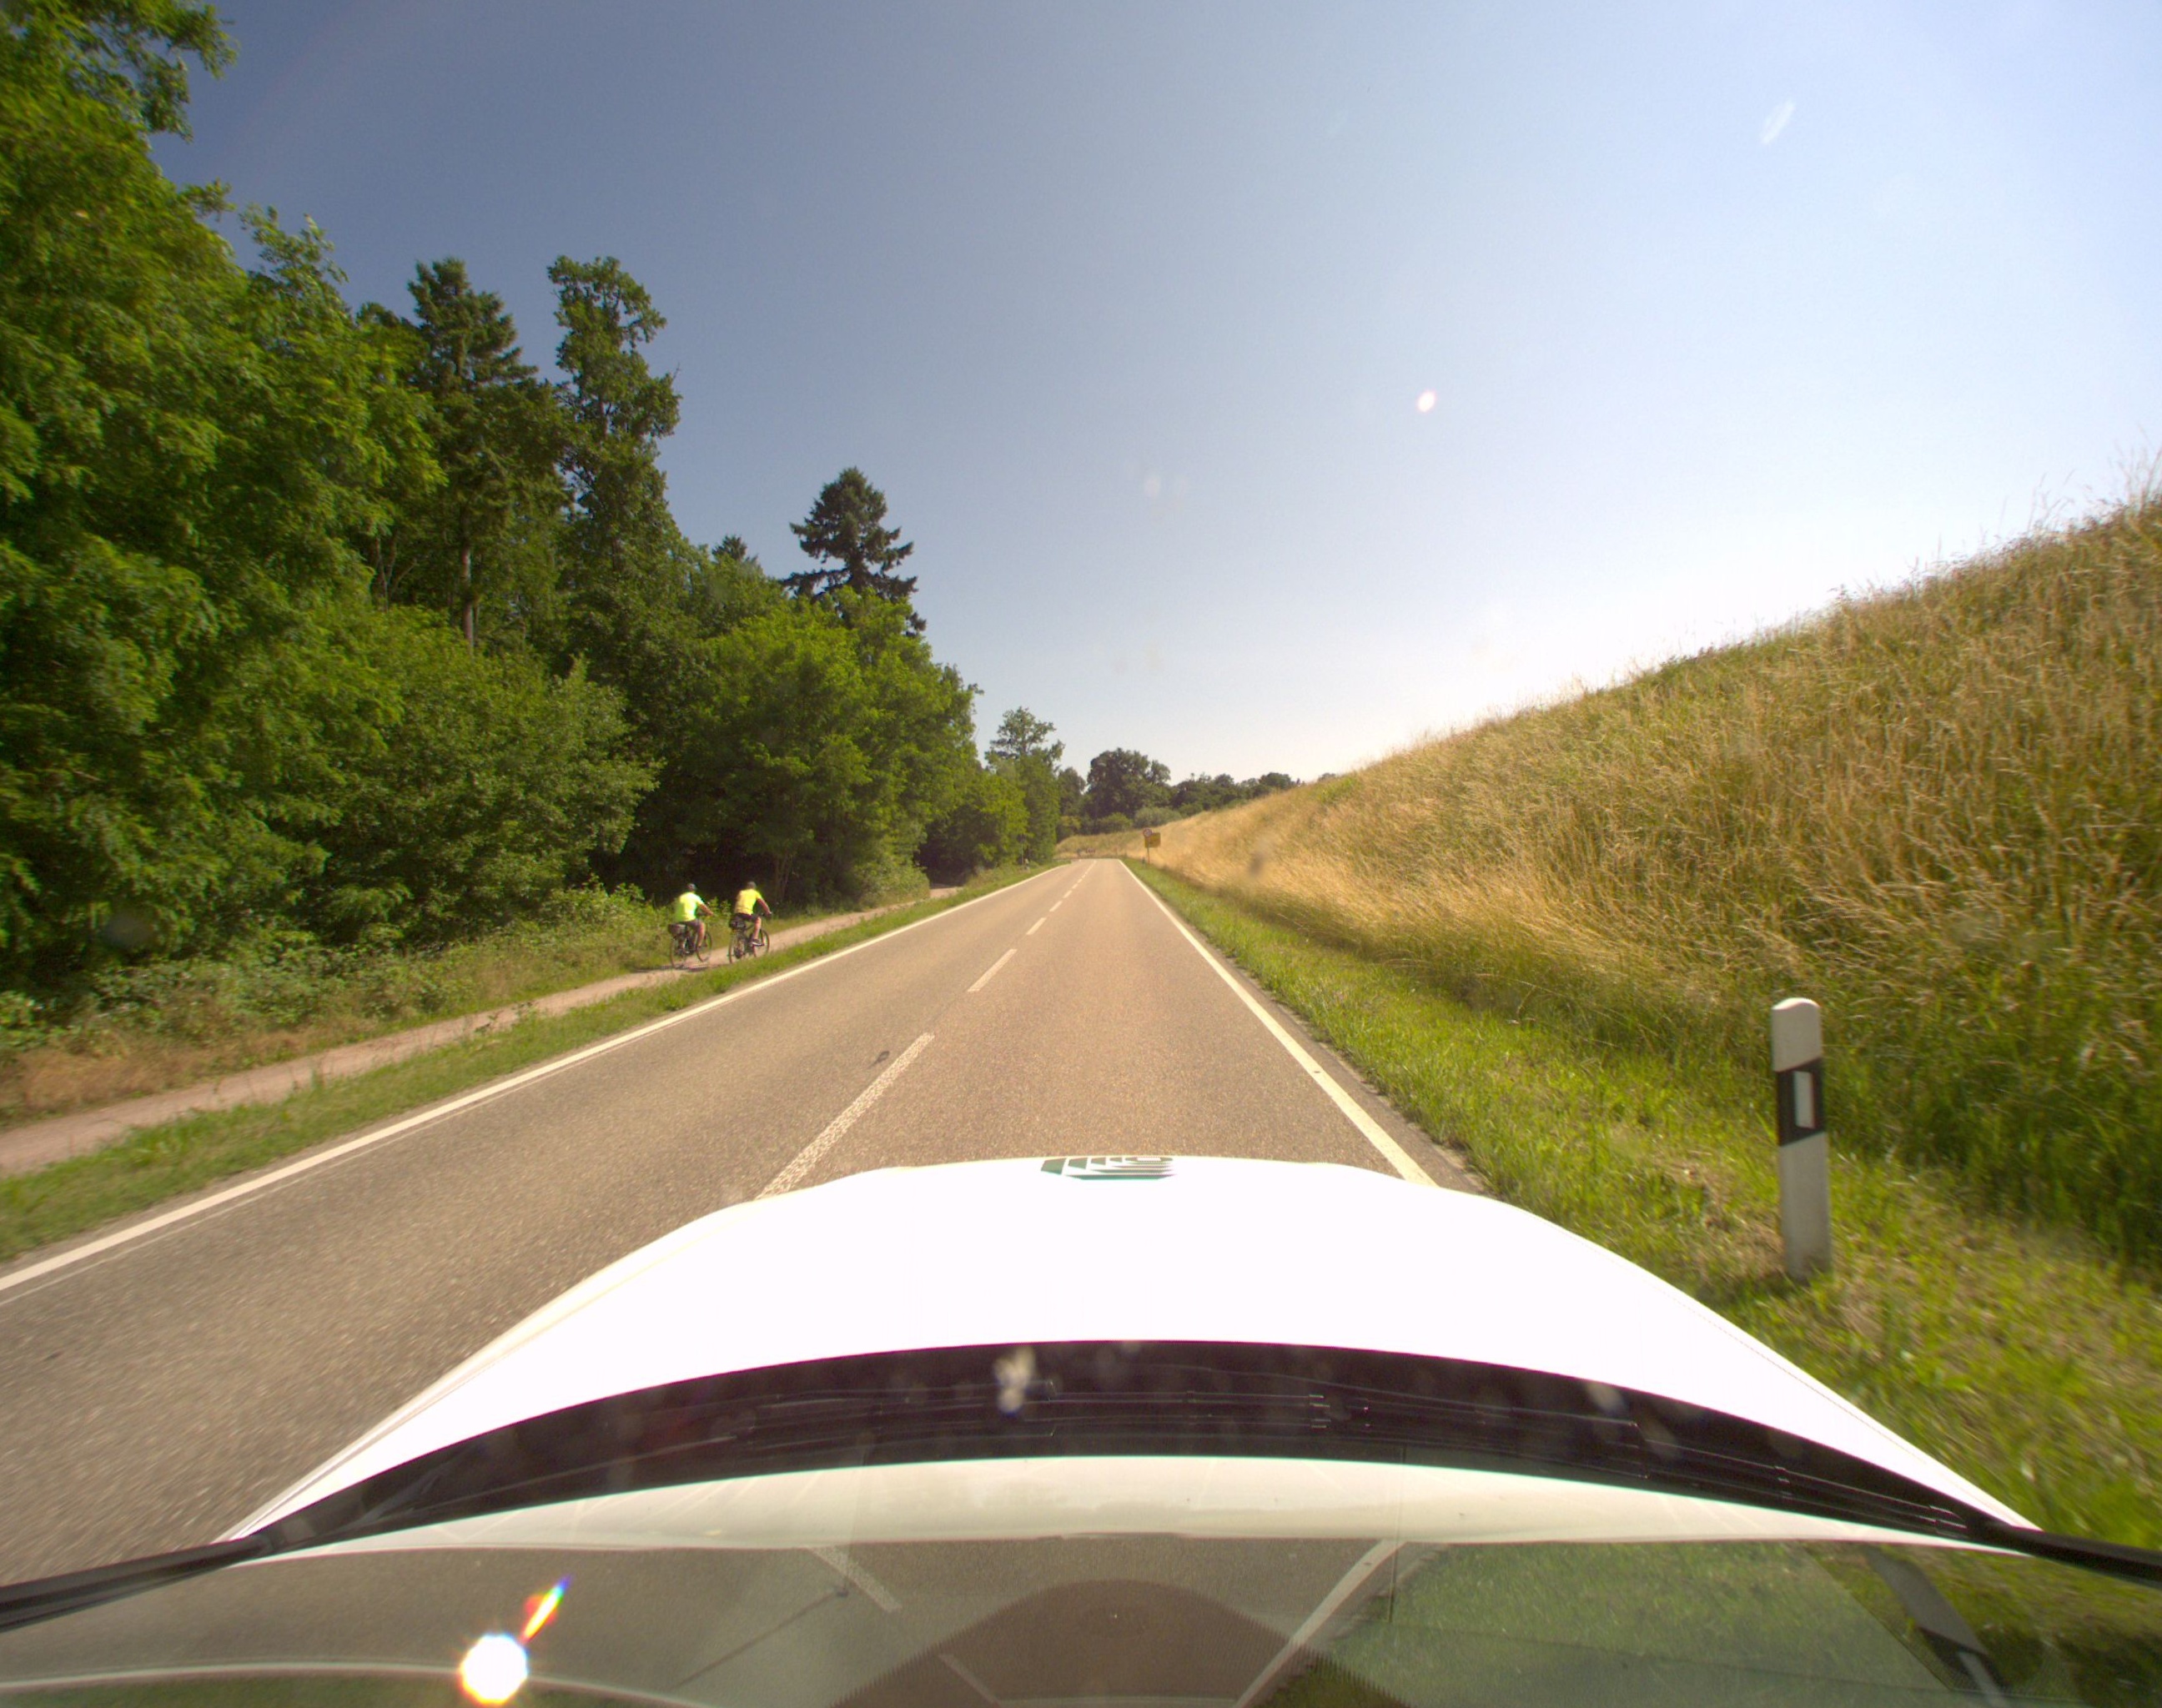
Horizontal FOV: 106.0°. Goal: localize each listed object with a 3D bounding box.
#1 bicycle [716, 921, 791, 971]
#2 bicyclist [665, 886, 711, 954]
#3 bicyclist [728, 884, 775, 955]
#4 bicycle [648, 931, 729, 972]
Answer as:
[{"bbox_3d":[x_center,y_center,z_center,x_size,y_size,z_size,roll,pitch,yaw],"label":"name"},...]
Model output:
[{"bbox_3d":[-6.984,1.943,17.509,0.637,0.788,2.137,-4,0,2],"label":"bicycle"},{"bbox_3d":[-8.341,1.383,17.304,0.603,1.416,0.703,0,-2,1],"label":"bicyclist"},{"bbox_3d":[-7.005,1.371,17.338,0.603,1.415,0.703,-4,0,1],"label":"bicyclist"},{"bbox_3d":[-8.333,2.051,17.392,0.617,0.681,2.137,0,-2,2],"label":"bicycle"}]
